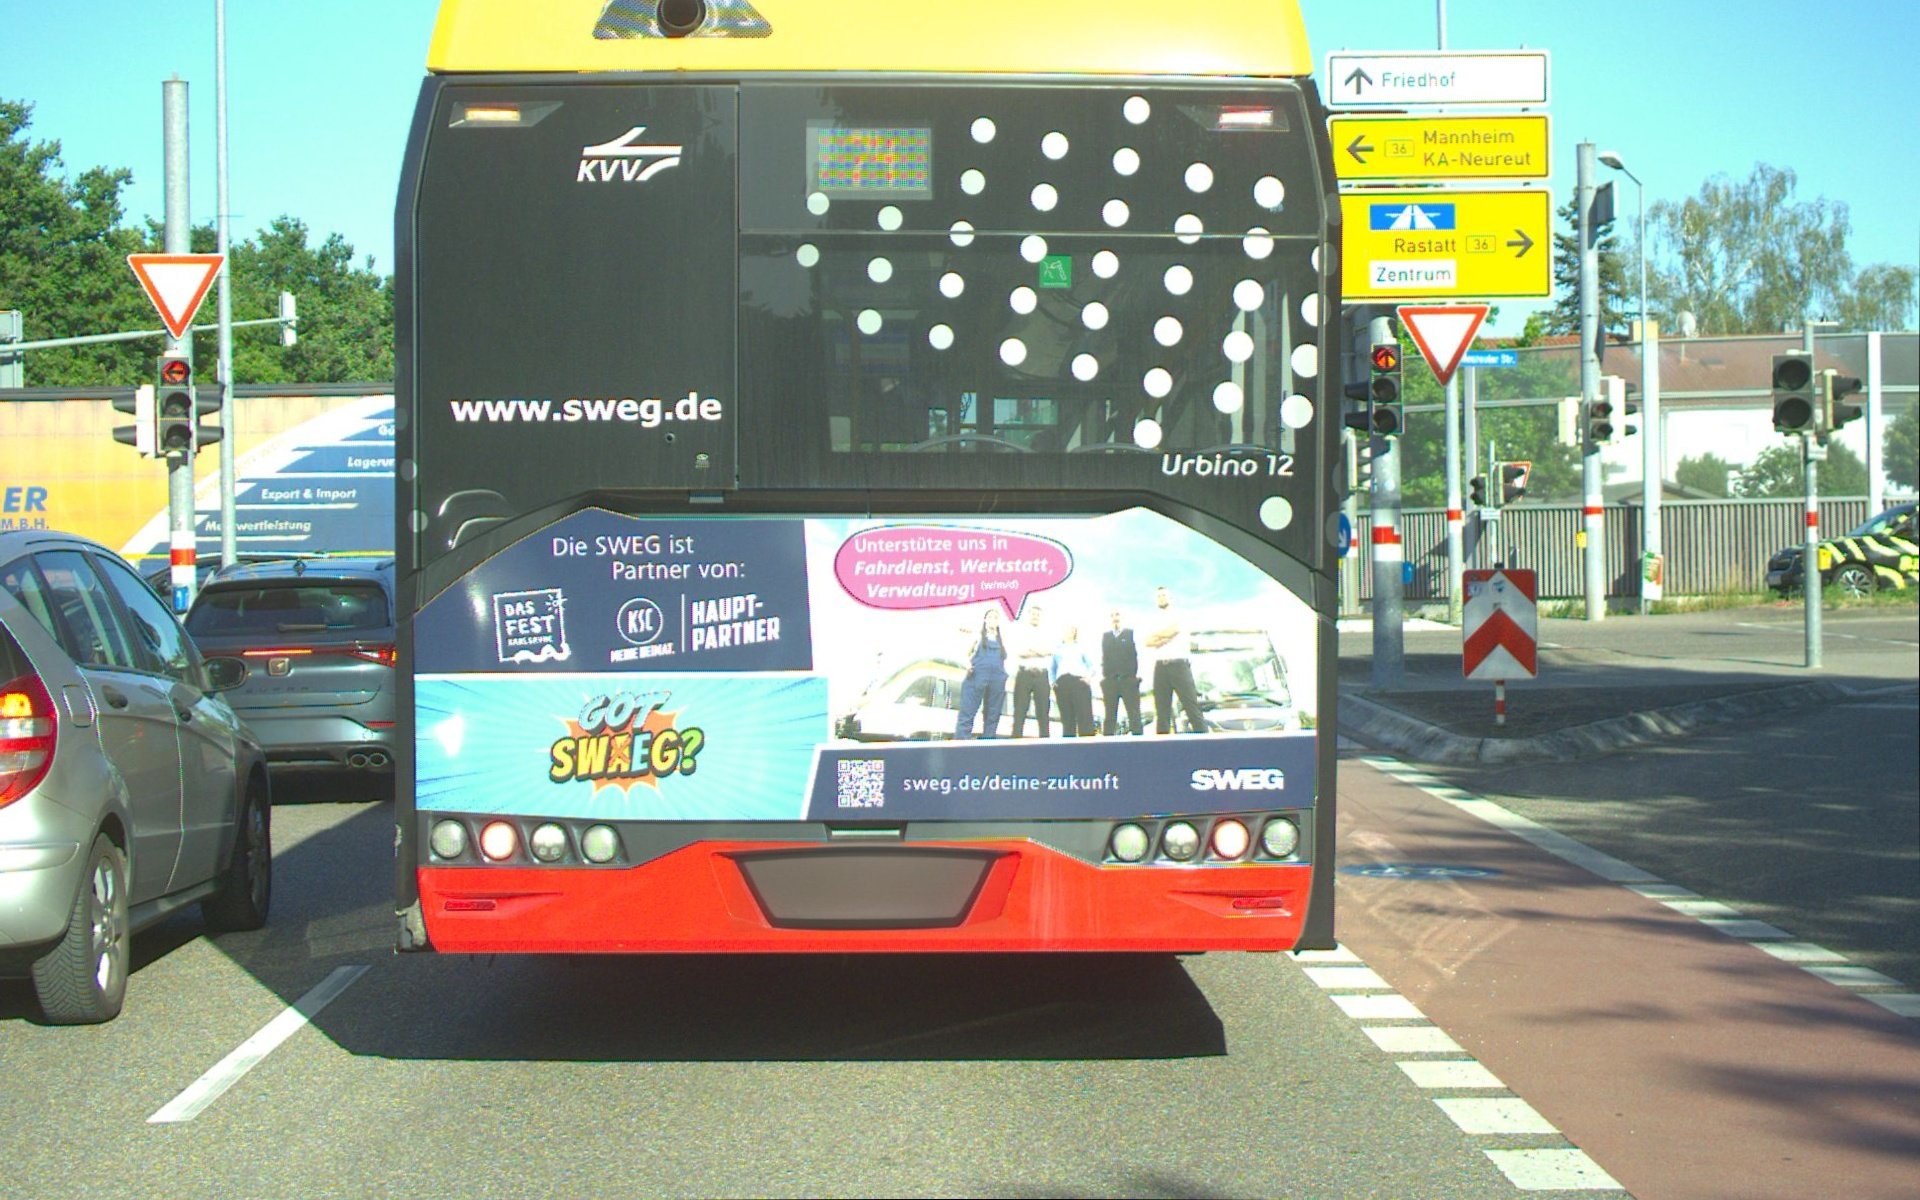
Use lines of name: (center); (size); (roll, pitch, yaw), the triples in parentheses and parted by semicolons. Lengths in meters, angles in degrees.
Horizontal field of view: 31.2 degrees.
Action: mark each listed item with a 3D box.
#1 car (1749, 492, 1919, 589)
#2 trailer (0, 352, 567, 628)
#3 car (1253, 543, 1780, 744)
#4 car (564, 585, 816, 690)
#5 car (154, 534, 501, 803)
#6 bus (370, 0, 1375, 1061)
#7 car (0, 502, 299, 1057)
car: (13.241, -0.802, 47.746); (4.159, 1.298, 1.575); (0, 0, -4)
trailer: (-12.367, -1.636, 51.872); (12.731, 4.016, 2.471); (-1, 1, -7)
car: (3.874, 0.275, 24.158); (3.523, 1.297, 1.574); (1, 2, 8)
car: (-4.377, 0.592, 55.635); (3.986, 1.606, 1.696); (-1, 1, -6)
car: (-3.771, 0.374, 21.025); (1.588, 1.480, 3.683); (-1, 0, -3)
bus: (-0.298, -0.571, 14.938); (2.596, 3.323, 11.984); (0, 1, -1)
car: (-3.575, 0.486, 12.199); (1.754, 1.614, 4.034); (-1, 2, -1)
